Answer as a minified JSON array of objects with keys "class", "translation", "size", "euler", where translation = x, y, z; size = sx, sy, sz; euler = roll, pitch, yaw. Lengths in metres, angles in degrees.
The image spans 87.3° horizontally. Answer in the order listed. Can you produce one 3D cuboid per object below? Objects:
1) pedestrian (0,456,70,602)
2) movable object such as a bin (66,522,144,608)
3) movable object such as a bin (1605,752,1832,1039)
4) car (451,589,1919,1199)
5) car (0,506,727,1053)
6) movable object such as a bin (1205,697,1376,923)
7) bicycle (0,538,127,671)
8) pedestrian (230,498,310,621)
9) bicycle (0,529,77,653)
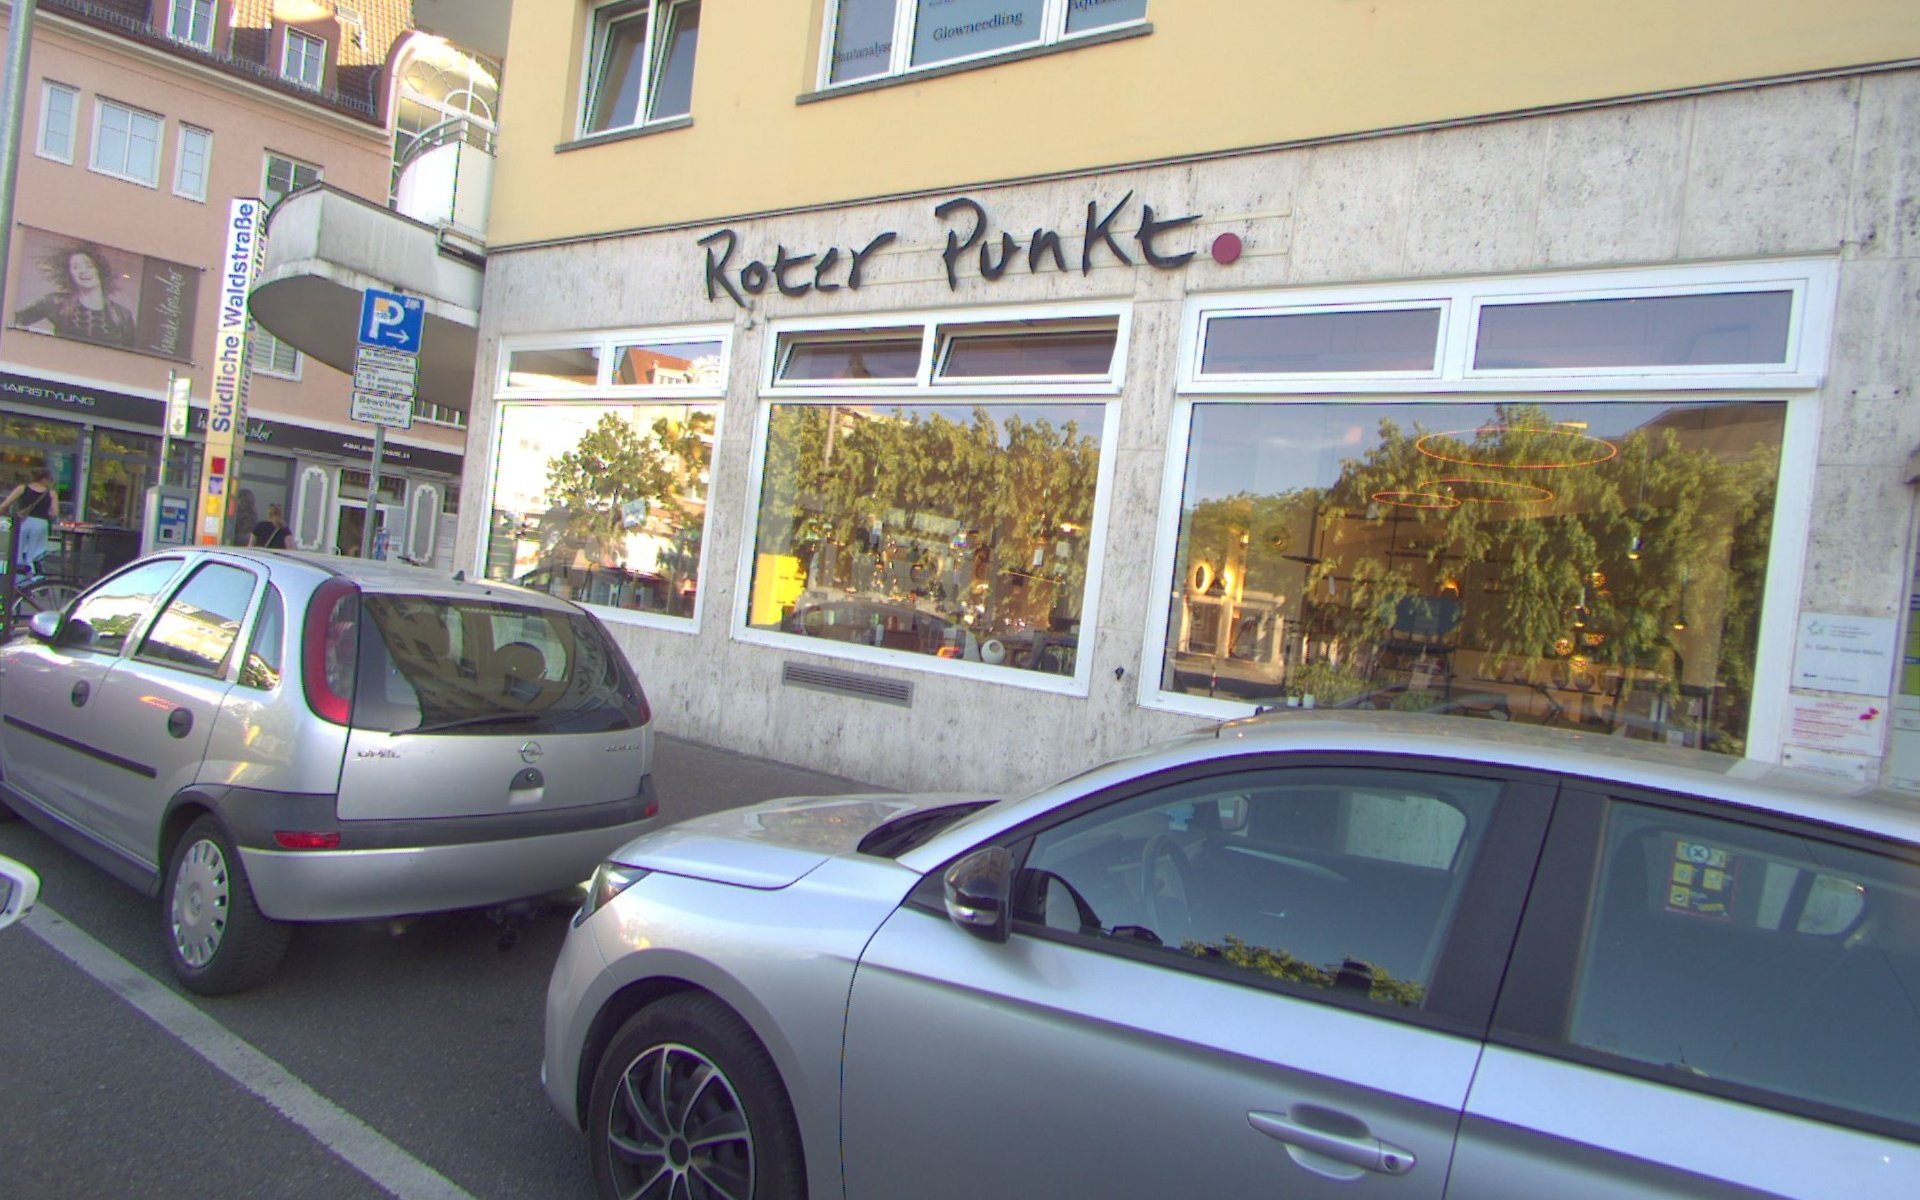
[{"class":"pedestrian","translation":[-12.586,-0.945,13.517],"size":[0.879,1.875,0.680],"euler":[6,3,33]},{"class":"movable object such as a bin","translation":[-11.955,-0.488,14.066],"size":[0.716,1.117,0.636],"euler":[7,2,35]},{"class":"movable object such as a bin","translation":[3.375,1.266,4.547],"size":[0.639,1.035,0.738],"euler":[6,-1,31]},{"class":"car","translation":[0.781,0.944,2.281],"size":[3.624,1.453,1.587],"euler":[6,-2,30]},{"class":"car","translation":[-2.955,0.484,4.461],"size":[3.520,1.443,1.587],"euler":[6,-2,32]},{"class":"movable object such as a bin","translation":[1.815,1.096,5.484],"size":[0.639,1.035,0.738],"euler":[6,-1,31]},{"class":"bicycle","translation":[-8.163,0.004,8.254],"size":[0.642,1.057,1.884],"euler":[7,0,33]},{"class":"pedestrian","translation":[-10.512,-0.615,15.330],"size":[0.776,1.777,0.720],"euler":[6,2,38]},{"class":"bicycle","translation":[-9.054,-0.150,8.798],"size":[0.642,1.072,1.816],"euler":[7,-1,33]}]
